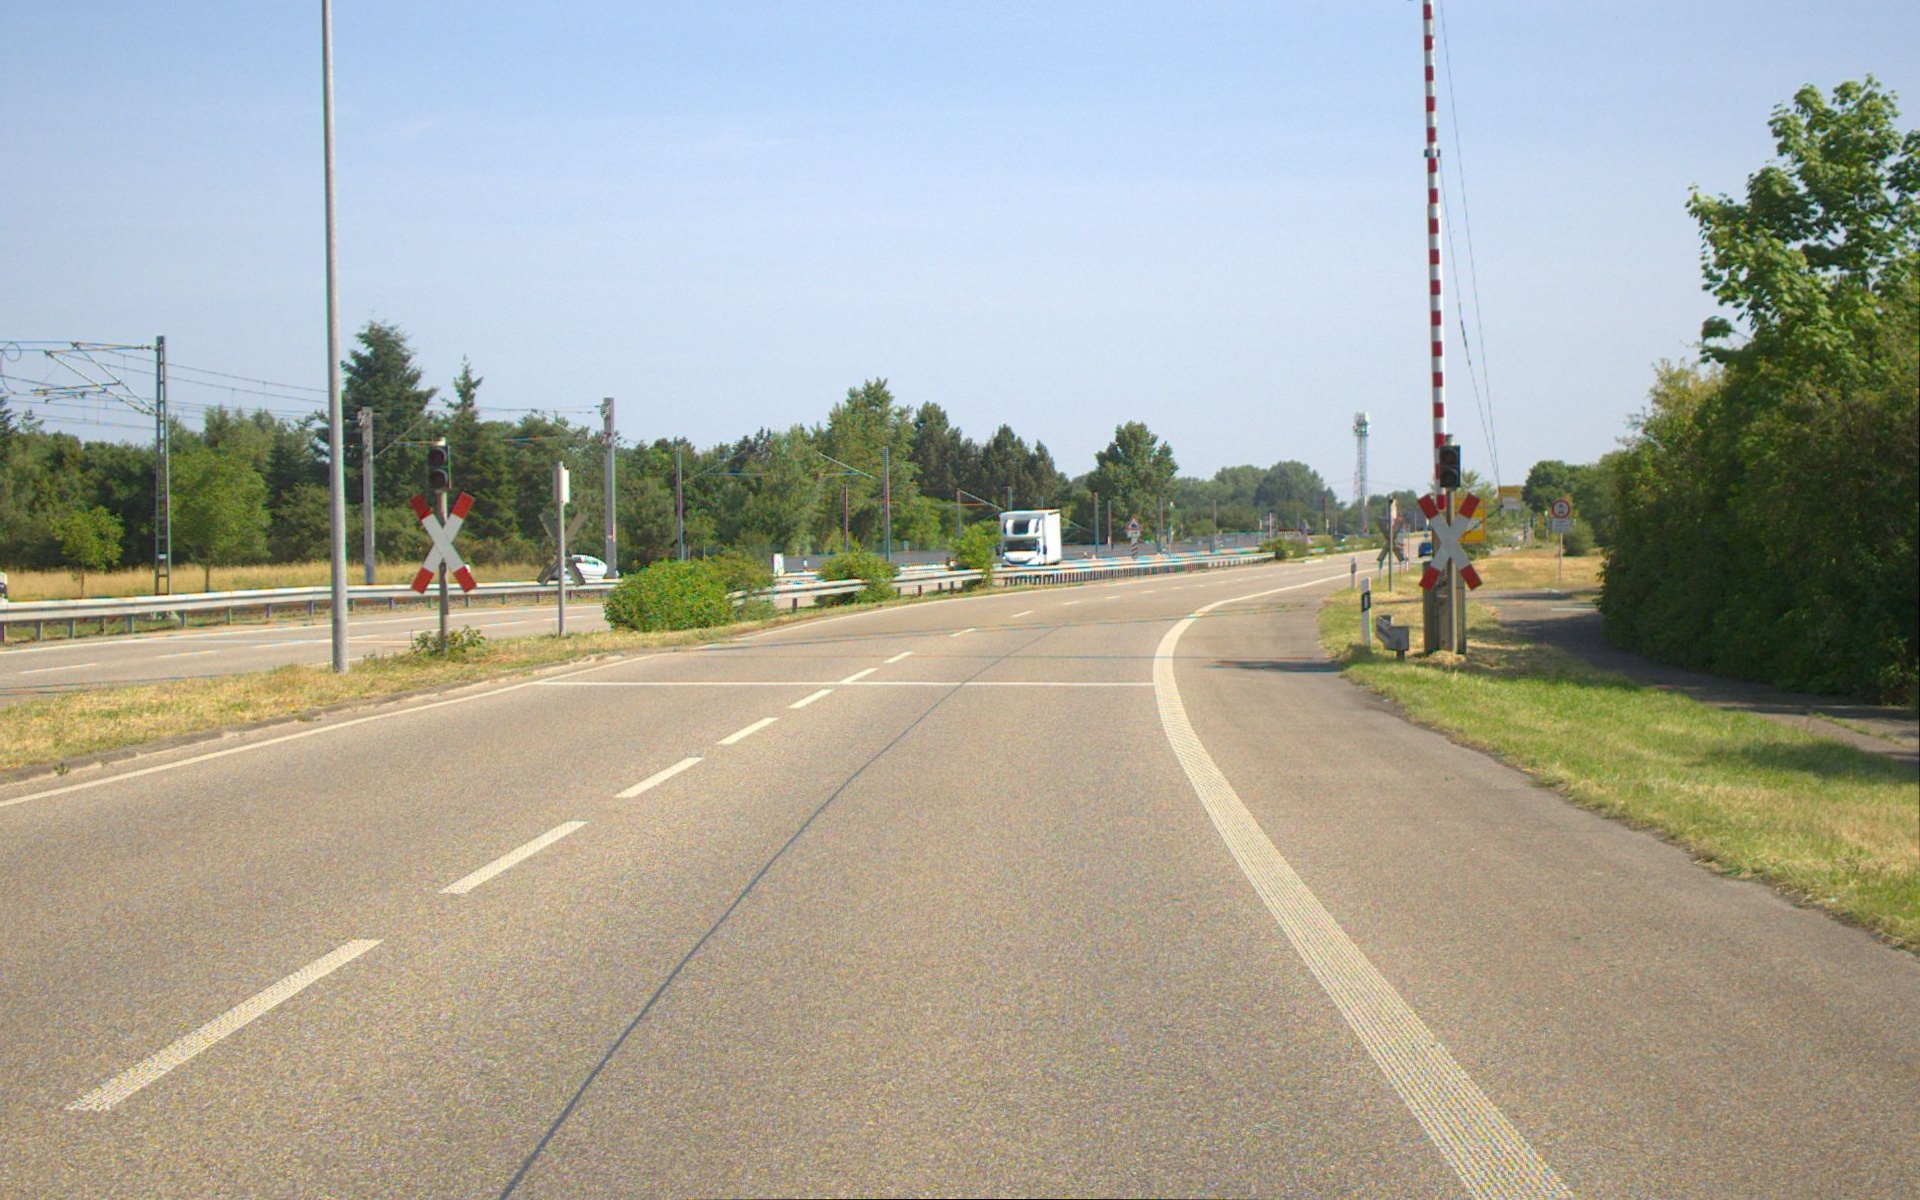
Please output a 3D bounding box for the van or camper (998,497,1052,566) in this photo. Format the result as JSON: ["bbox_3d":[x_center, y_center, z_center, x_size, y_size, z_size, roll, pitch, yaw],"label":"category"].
[{"bbox_3d":[3.581,-3.764,189.850,2.876,3.668,8.644,-1,1,1],"label":"van or camper"}]
